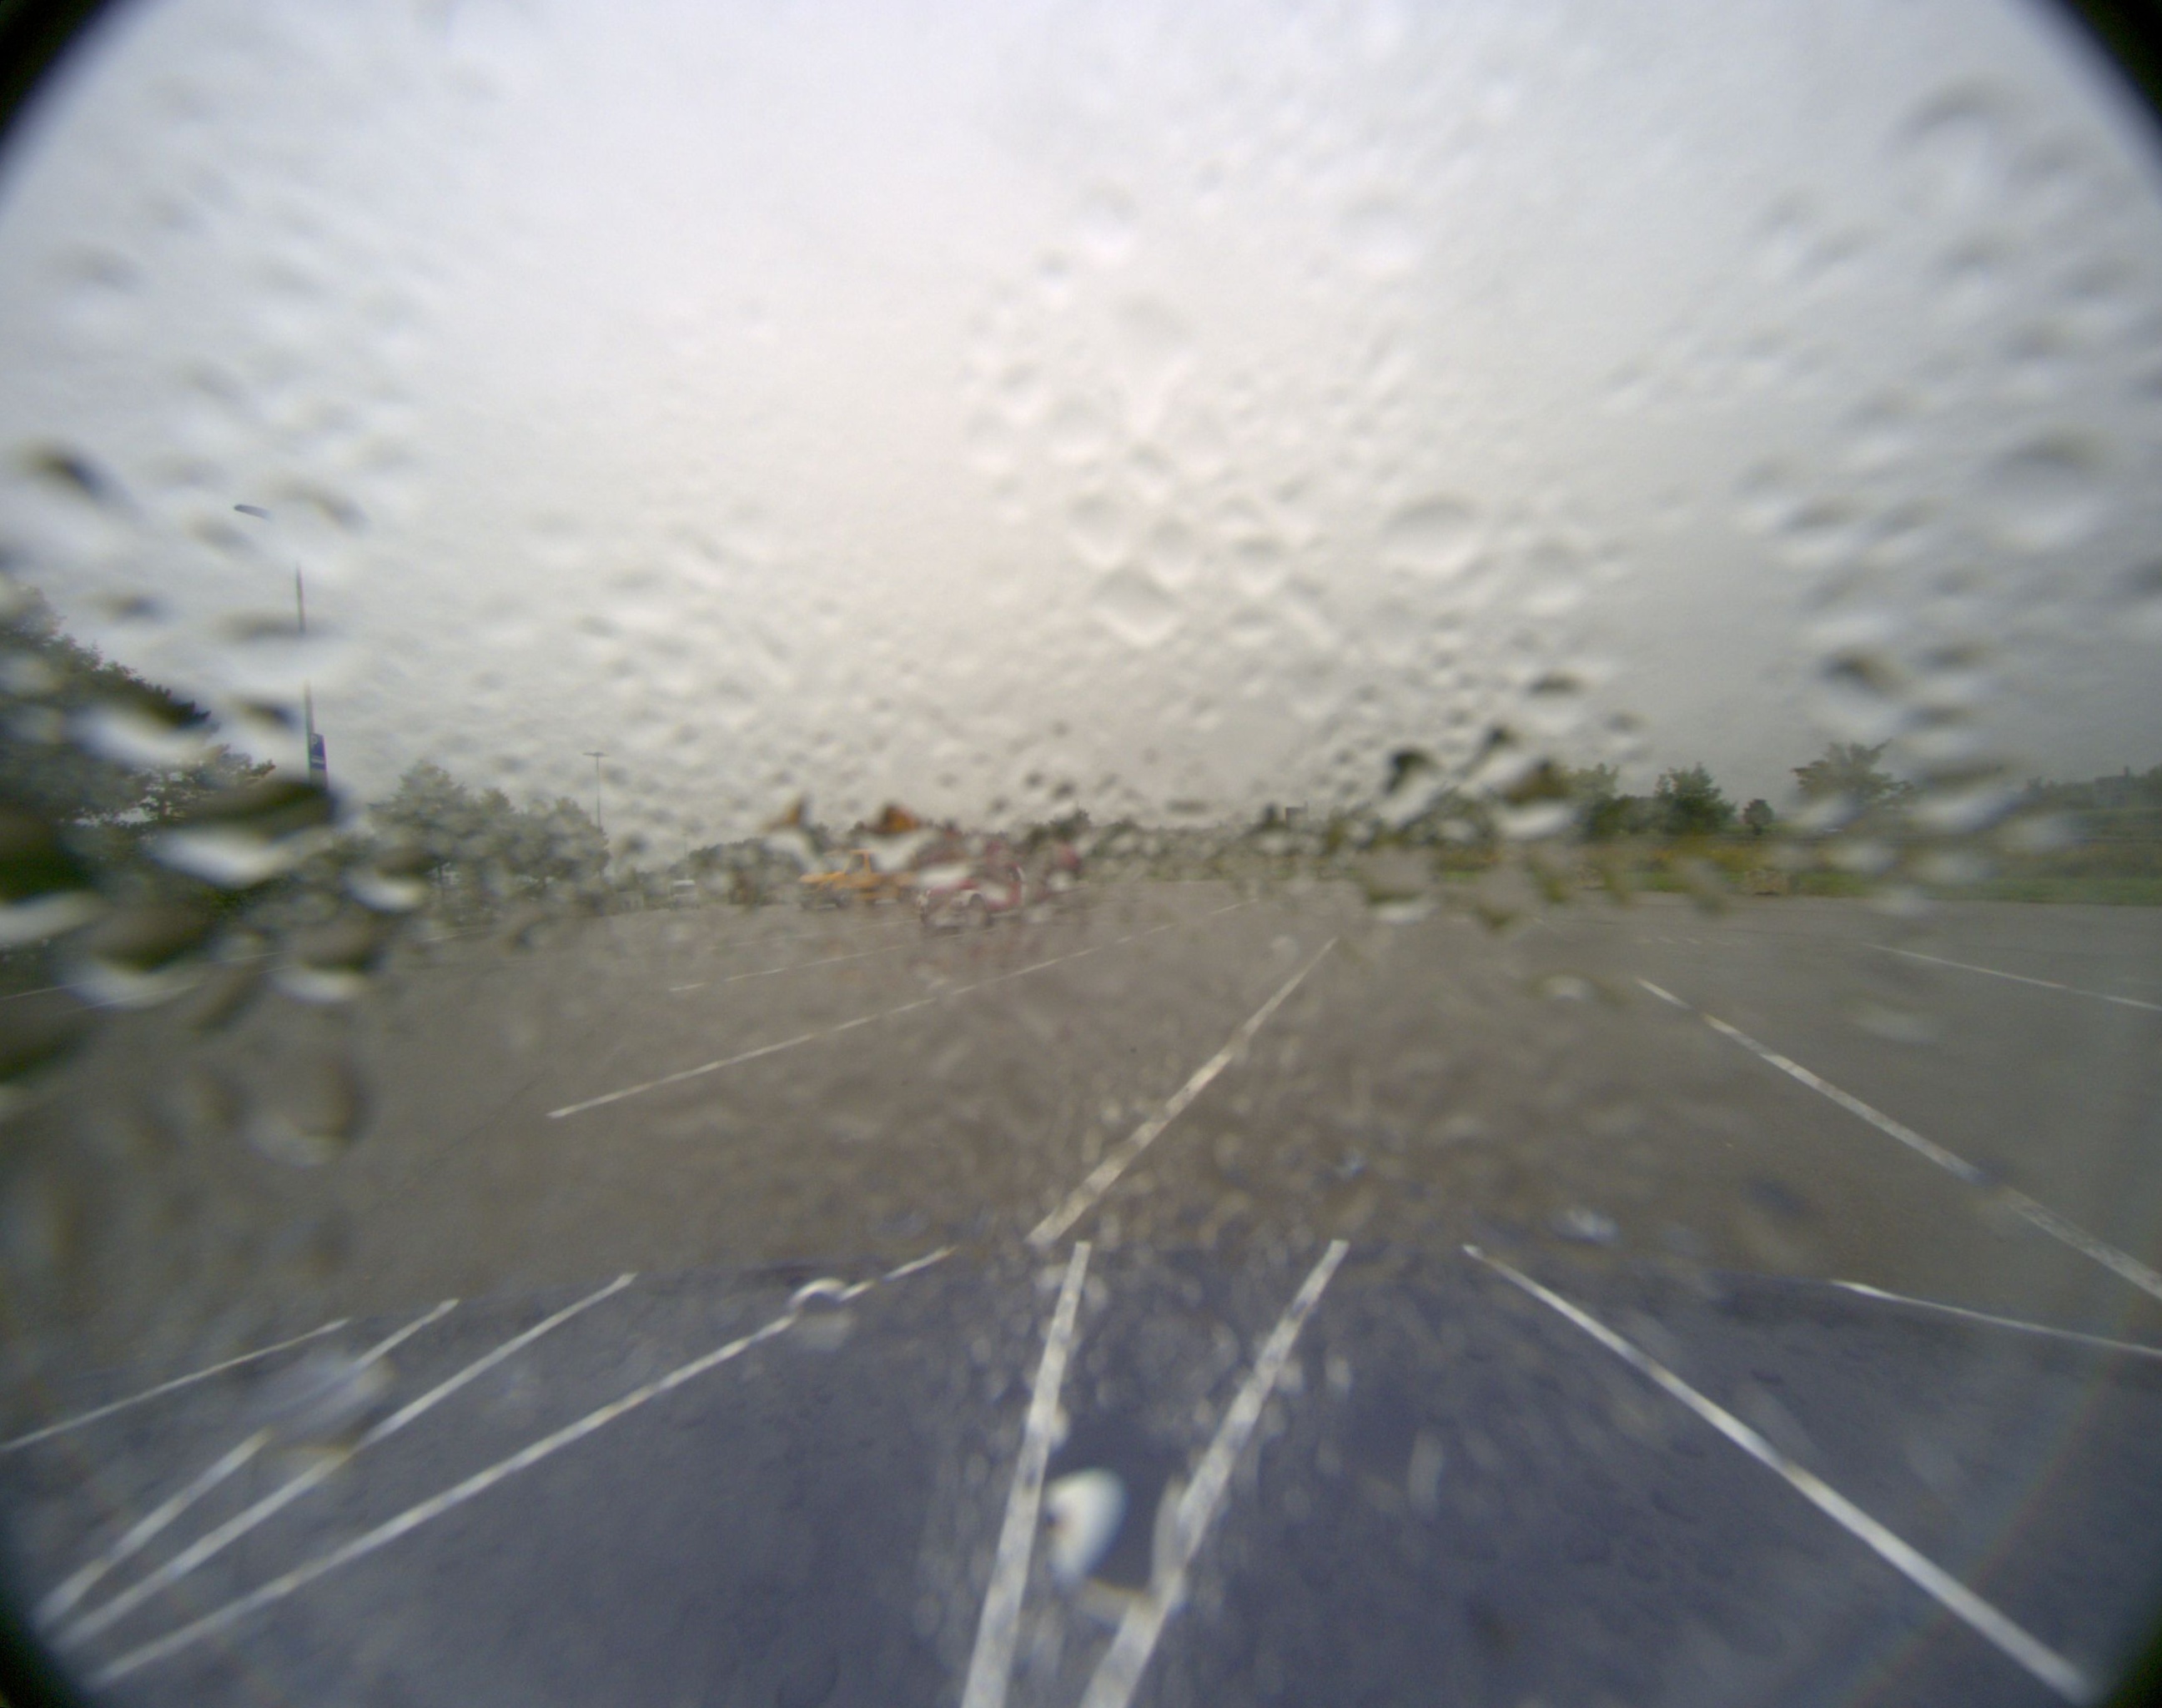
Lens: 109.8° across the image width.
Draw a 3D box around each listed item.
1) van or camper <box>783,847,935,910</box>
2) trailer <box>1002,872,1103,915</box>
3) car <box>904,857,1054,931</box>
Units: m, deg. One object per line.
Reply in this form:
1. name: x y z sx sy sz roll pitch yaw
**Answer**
1. van or camper: -8.773 0.897 30.886 2.129 2.233 6.428 -2 0 25
2. trailer: -0.762 1.116 21.989 1.585 1.061 3.036 -2 -1 28
3. car: -2.381 0.910 18.785 1.546 1.546 4.063 -2 0 28
